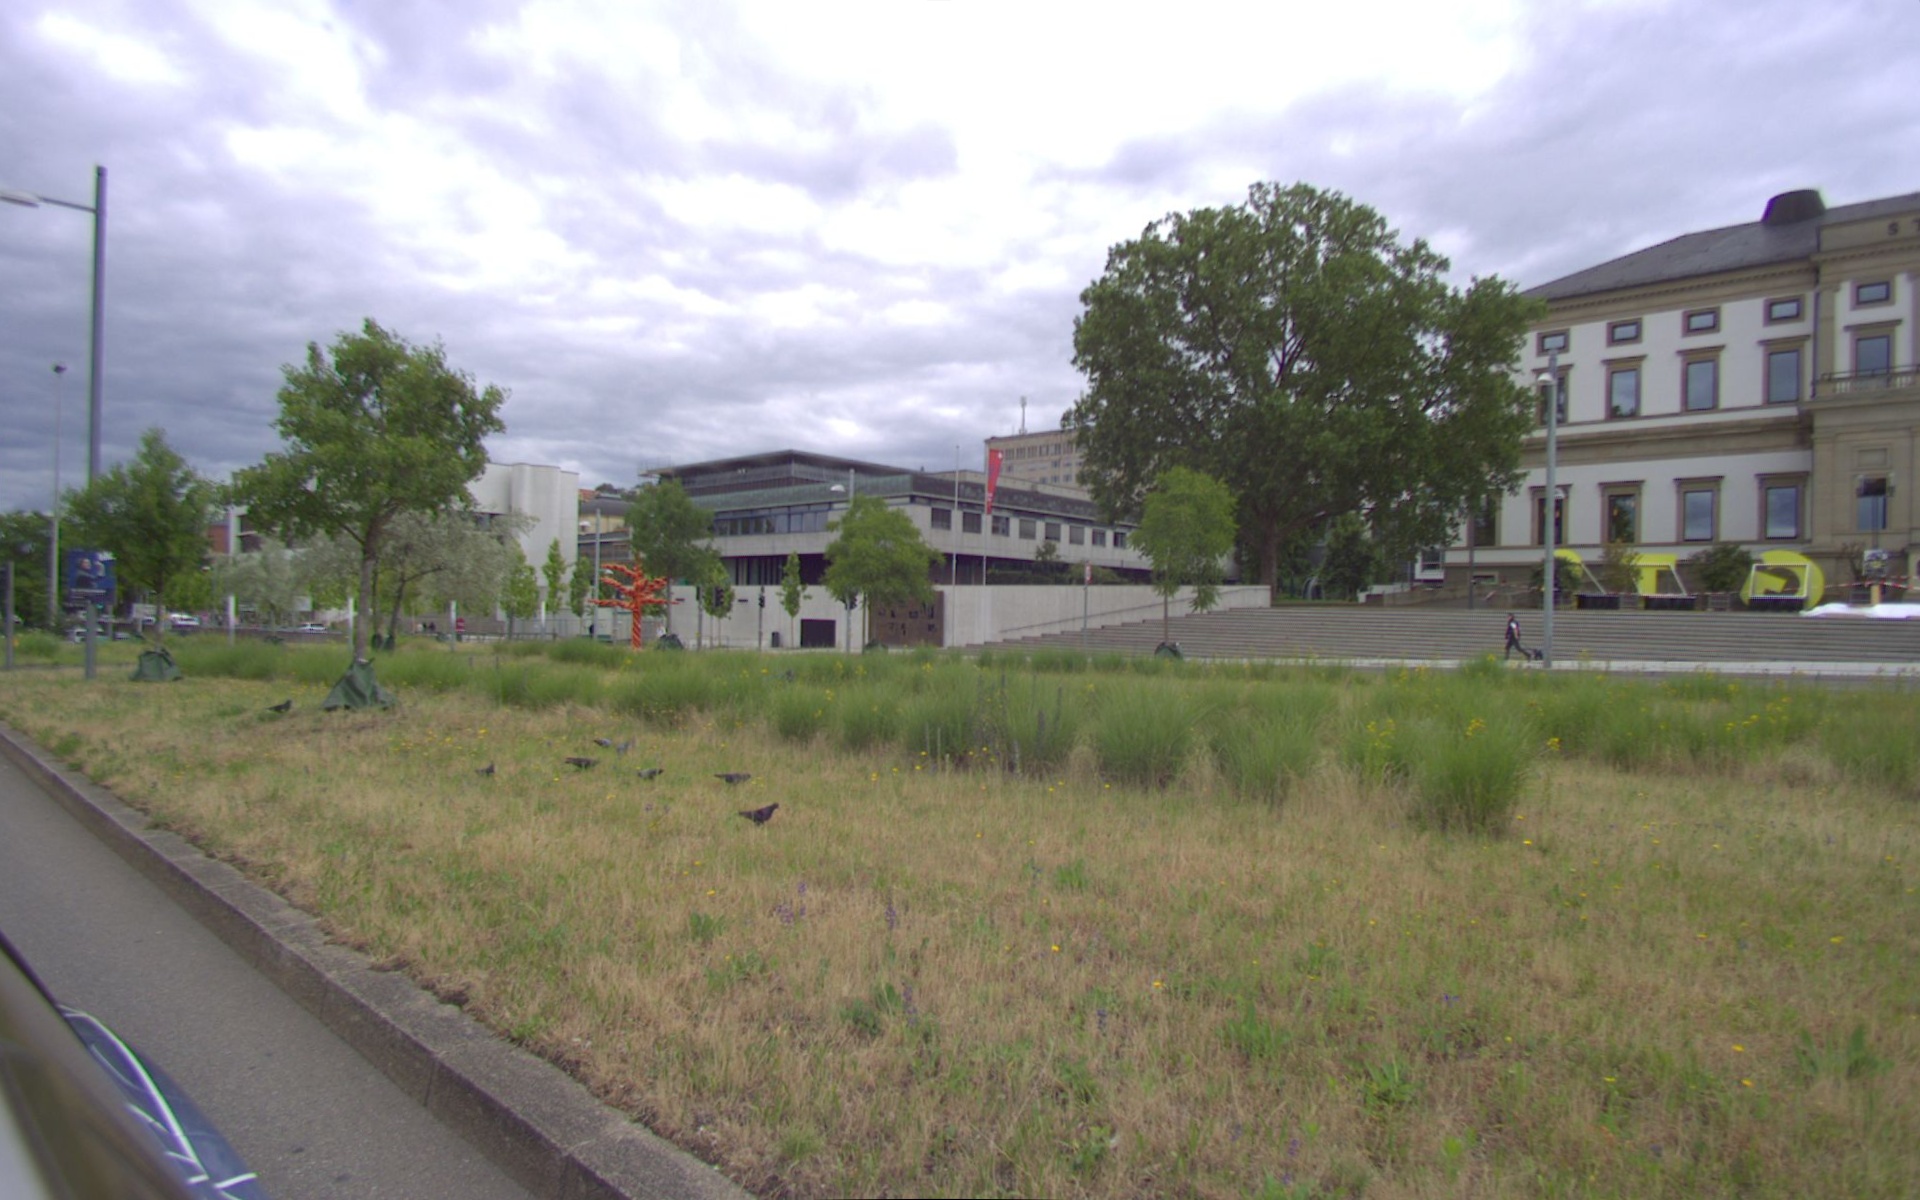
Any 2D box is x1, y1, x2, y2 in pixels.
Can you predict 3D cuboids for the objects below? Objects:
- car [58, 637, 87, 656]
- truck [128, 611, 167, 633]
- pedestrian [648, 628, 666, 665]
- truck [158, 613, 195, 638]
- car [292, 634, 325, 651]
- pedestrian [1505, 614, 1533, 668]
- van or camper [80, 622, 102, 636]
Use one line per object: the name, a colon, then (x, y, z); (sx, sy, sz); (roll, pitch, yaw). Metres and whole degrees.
car: (-102.286, 5.359, 116.591); (4.332, 2.029, 1.972); (-2, -5, 42)
truck: (-114.260, 3.112, 142.322); (7.251, 2.809, 3.196); (-3, -2, 42)
pedestrian: (-14.817, 2.270, 49.511); (0.663, 1.747, 0.534); (-2, -2, 42)
truck: (-92.758, 3.072, 119.734); (7.079, 2.838, 2.436); (-3, -2, 44)
car: (-63.598, 4.154, 98.823); (4.613, 1.586, 1.700); (-3, -2, 44)
pedestrian: (17.646, 1.291, 31.958); (0.650, 1.661, 0.518); (-1, -1, 41)
van or camper: (-131.411, 4.384, 153.065); (4.556, 2.029, 1.972); (-3, -2, 42)
